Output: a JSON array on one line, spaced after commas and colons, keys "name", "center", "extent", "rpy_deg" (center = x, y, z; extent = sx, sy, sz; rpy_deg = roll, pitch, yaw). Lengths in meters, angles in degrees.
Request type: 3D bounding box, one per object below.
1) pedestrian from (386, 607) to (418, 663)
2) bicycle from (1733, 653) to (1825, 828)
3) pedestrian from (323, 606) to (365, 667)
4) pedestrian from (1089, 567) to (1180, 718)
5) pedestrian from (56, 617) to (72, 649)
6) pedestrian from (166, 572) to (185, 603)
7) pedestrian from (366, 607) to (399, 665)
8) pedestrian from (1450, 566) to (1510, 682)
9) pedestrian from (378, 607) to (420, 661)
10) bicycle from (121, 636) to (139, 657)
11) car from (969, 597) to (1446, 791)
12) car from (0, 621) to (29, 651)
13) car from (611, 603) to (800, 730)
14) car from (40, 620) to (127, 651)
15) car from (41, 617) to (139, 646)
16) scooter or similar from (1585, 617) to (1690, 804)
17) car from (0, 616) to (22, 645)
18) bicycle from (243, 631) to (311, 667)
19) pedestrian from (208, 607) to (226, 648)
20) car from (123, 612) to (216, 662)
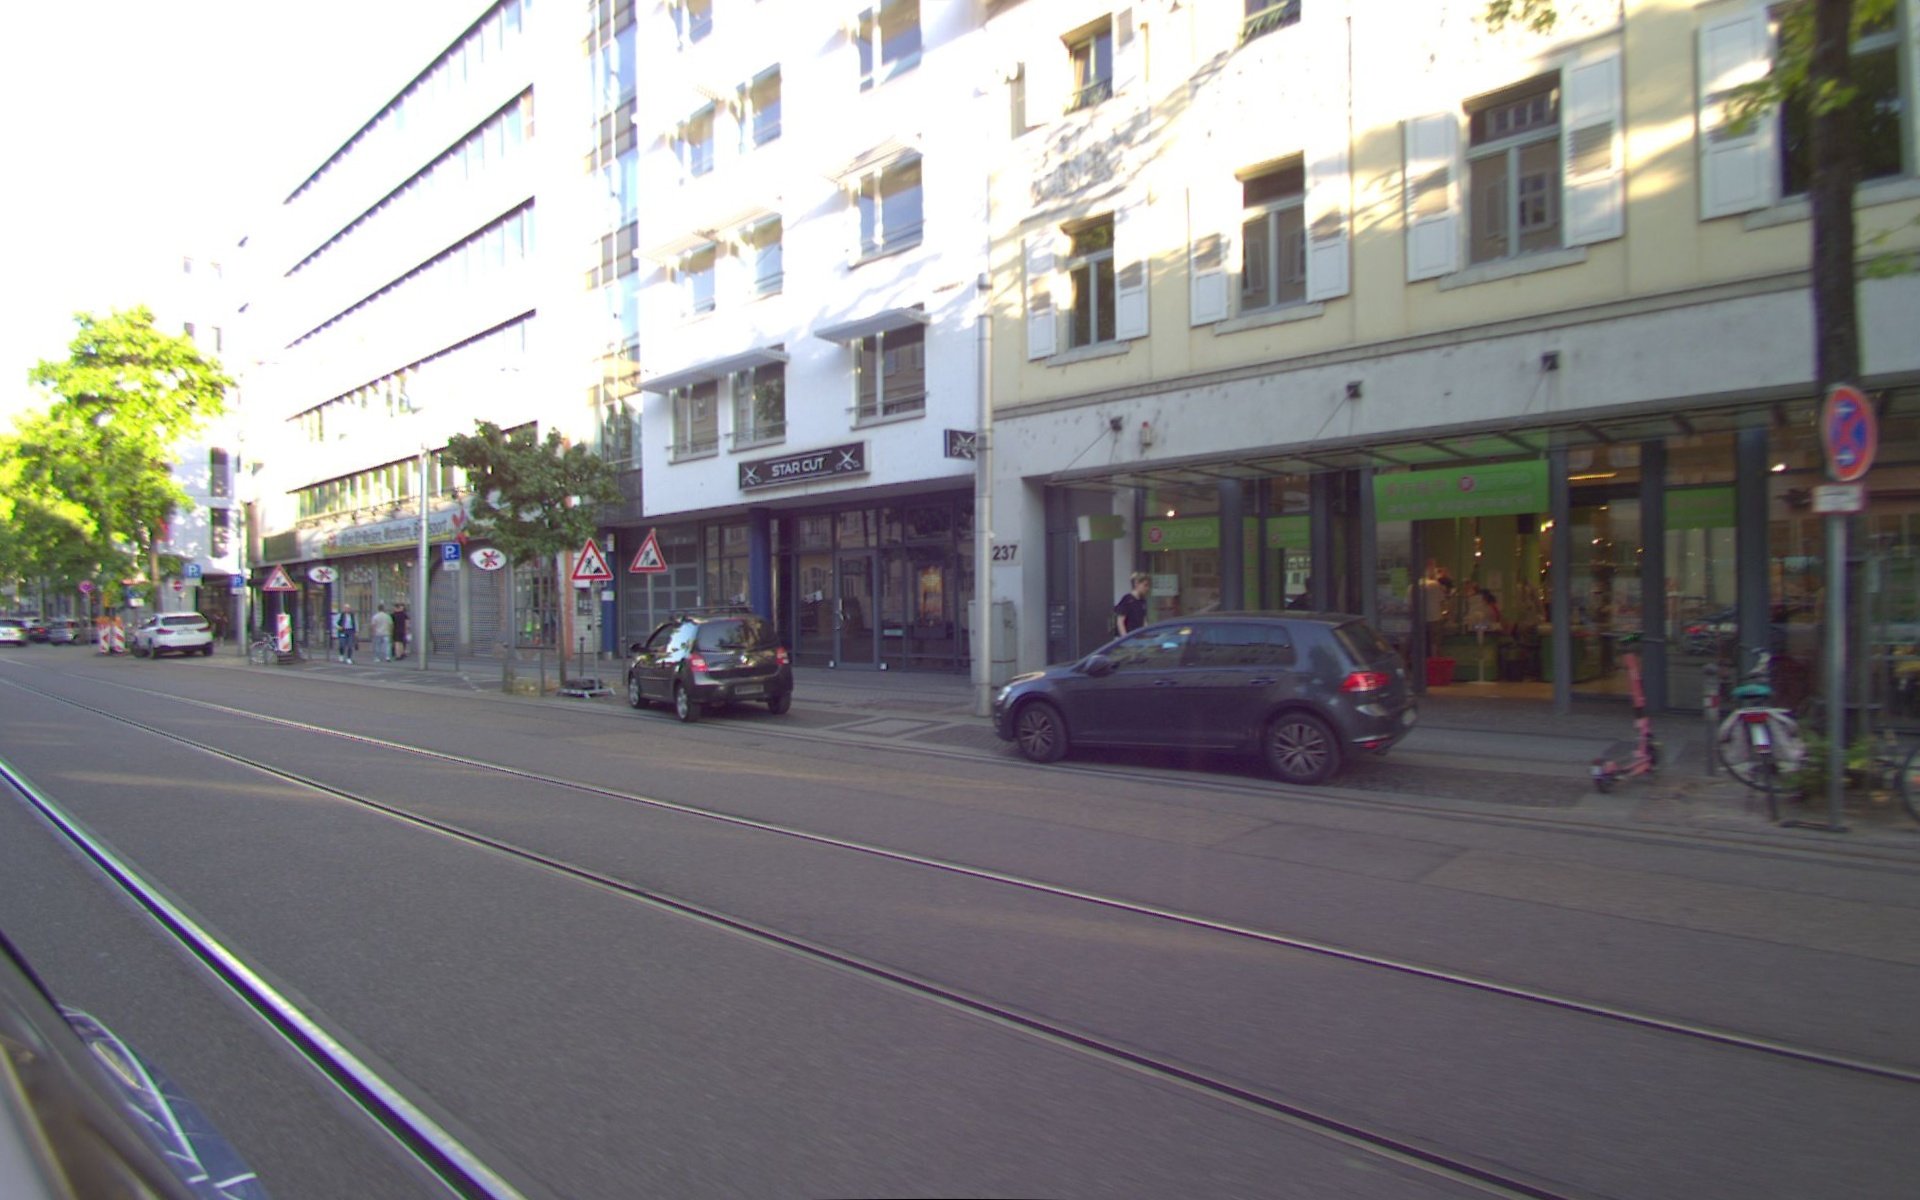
[{"name": "pedestrian", "center": [-17.387, 1.080, 31.531], "extent": [0.620, 1.725, 0.808], "rpy_deg": [-2, 0, -45]}, {"name": "bicycle", "center": [5.838, 0.926, 7.180], "extent": [0.331, 1.009, 1.949], "rpy_deg": [-1, -1, 44]}, {"name": "pedestrian", "center": [-18.550, 1.091, 30.468], "extent": [0.831, 1.779, 0.842], "rpy_deg": [-2, -1, 39]}, {"name": "pedestrian", "center": [2.232, 0.519, 12.949], "extent": [0.878, 1.839, 0.653], "rpy_deg": [-1, 2, 42]}, {"name": "pedestrian", "center": [-55.056, 2.005, 62.179], "extent": [0.723, 1.948, 0.647], "rpy_deg": [-2, -2, 43]}, {"name": "pedestrian", "center": [-42.213, -0.680, 54.452], "extent": [0.611, 1.658, 0.716], "rpy_deg": [-2, -1, 43]}, {"name": "pedestrian", "center": [-17.604, 1.089, 30.841], "extent": [0.634, 1.725, 0.830], "rpy_deg": [-2, 0, -45]}, {"name": "pedestrian", "center": [8.258, 0.375, 16.063], "extent": [0.684, 1.792, 0.662], "rpy_deg": [-2, -1, 41]}, {"name": "pedestrian", "center": [-18.558, 1.100, 33.476], "extent": [1.037, 1.708, 0.824], "rpy_deg": [-1, 2, 42]}, {"name": "bicycle", "center": [-35.945, 2.015, 43.812], "extent": [0.496, 0.843, 1.536], "rpy_deg": [-4, 2, -43]}, {"name": "car", "center": [2.341, 0.782, 10.055], "extent": [4.233, 1.501, 1.776], "rpy_deg": [-1, 1, 36]}, {"name": "car", "center": [-53.825, 1.995, 56.773], "extent": [4.199, 1.624, 1.864], "rpy_deg": [-2, -3, 41]}, {"name": "car", "center": [-3.994, 0.920, 15.485], "extent": [1.608, 1.628, 3.718], "rpy_deg": [-3, 1, -34]}, {"name": "car", "center": [-51.095, 2.039, 59.074], "extent": [1.772, 1.572, 3.386], "rpy_deg": [-1, 2, 14]}, {"name": "car", "center": [-53.001, 1.899, 61.748], "extent": [1.568, 1.423, 4.285], "rpy_deg": [-1, 2, 23]}, {"name": "scooter or similar", "center": [5.323, 0.810, 7.925], "extent": [1.403, 1.280, 0.375], "rpy_deg": [-3, 1, -45]}, {"name": "car", "center": [-61.763, 1.962, 64.830], "extent": [4.199, 1.820, 2.012], "rpy_deg": [-2, -2, 41]}, {"name": "bicycle", "center": [-22.119, 1.561, 32.799], "extent": [1.724, 0.999, 0.479], "rpy_deg": [-5, 2, -41]}, {"name": "pedestrian", "center": [-37.144, 1.366, 50.563], "extent": [0.592, 2.029, 0.608], "rpy_deg": [-2, -1, 40]}, {"name": "car", "center": [-31.155, 1.442, 39.834], "extent": [4.742, 1.767, 1.973], "rpy_deg": [-2, 1, 41]}]
